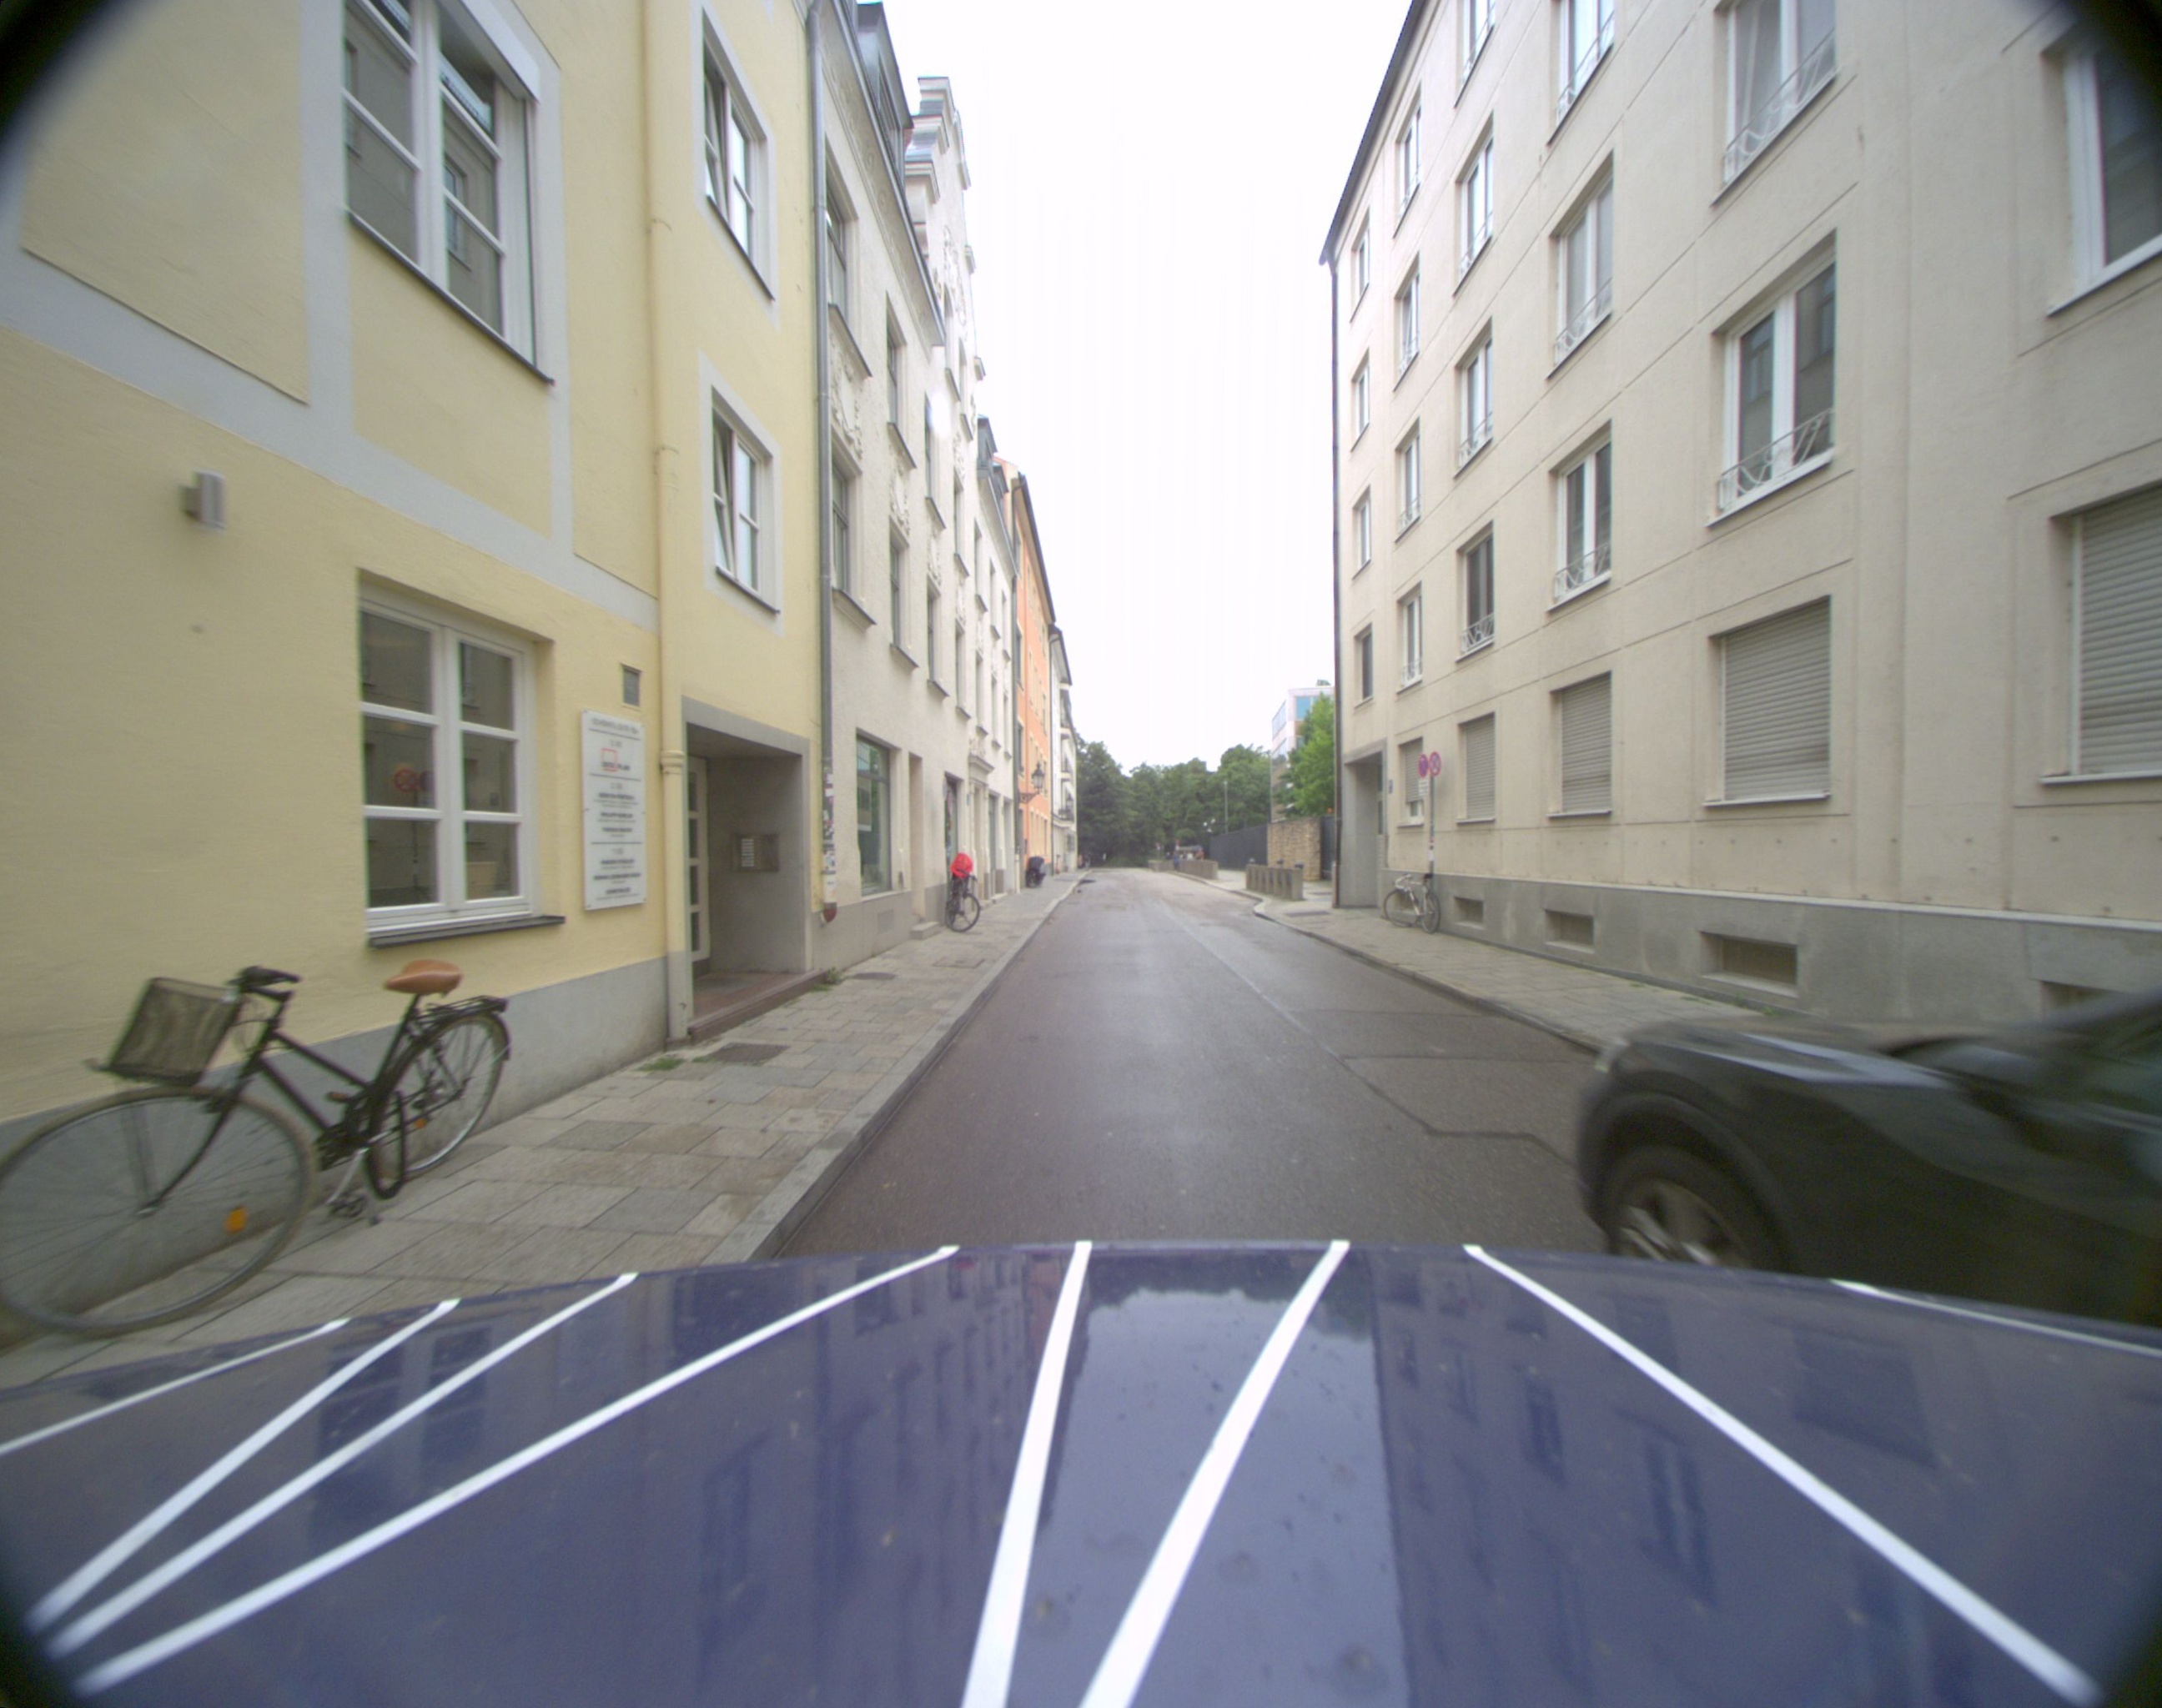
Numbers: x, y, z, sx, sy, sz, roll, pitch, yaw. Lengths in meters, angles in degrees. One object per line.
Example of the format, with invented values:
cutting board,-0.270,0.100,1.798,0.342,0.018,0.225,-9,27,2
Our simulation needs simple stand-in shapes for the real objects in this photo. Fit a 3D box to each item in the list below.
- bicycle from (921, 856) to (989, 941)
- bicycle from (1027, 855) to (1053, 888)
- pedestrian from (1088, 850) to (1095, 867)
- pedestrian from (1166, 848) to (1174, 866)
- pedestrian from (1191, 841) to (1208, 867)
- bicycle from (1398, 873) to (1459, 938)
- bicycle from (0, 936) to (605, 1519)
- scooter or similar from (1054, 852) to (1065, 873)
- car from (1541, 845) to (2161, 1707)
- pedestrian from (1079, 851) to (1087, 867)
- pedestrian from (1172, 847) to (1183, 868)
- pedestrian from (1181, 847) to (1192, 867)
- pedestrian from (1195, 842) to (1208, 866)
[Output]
bicycle,-2.248,0.748,13.846,0.715,1.388,2.122,1,1,4
bicycle,-1.638,0.672,30.781,0.681,1.233,2.383,3,1,4
pedestrian,1.048,0.469,75.831,0.753,1.725,0.853,-1,0,1
pedestrian,8.790,0.294,74.915,0.625,1.758,0.767,-1,0,2
pedestrian,9.519,-0.013,60.936,1.225,2.092,1.117,-1,0,4
bicycle,5.741,0.828,12.620,0.320,0.938,1.574,-4,1,4
bicycle,-2.694,0.986,2.782,0.567,1.130,1.988,1,1,3
scooter or similar,-1.358,0.536,48.753,0.466,1.251,1.275,1,1,-12
car,2.420,0.804,0.526,1.816,1.584,4.000,-1,1,1
pedestrian,0.229,0.502,75.945,0.753,1.671,0.656,-1,0,1
pedestrian,7.036,0.236,55.180,0.640,1.458,1.079,-3,0,3
pedestrian,8.392,0.218,60.395,0.778,1.531,0.933,-3,0,10
pedestrian,8.670,0.004,54.623,0.826,1.713,0.906,-3,0,7
